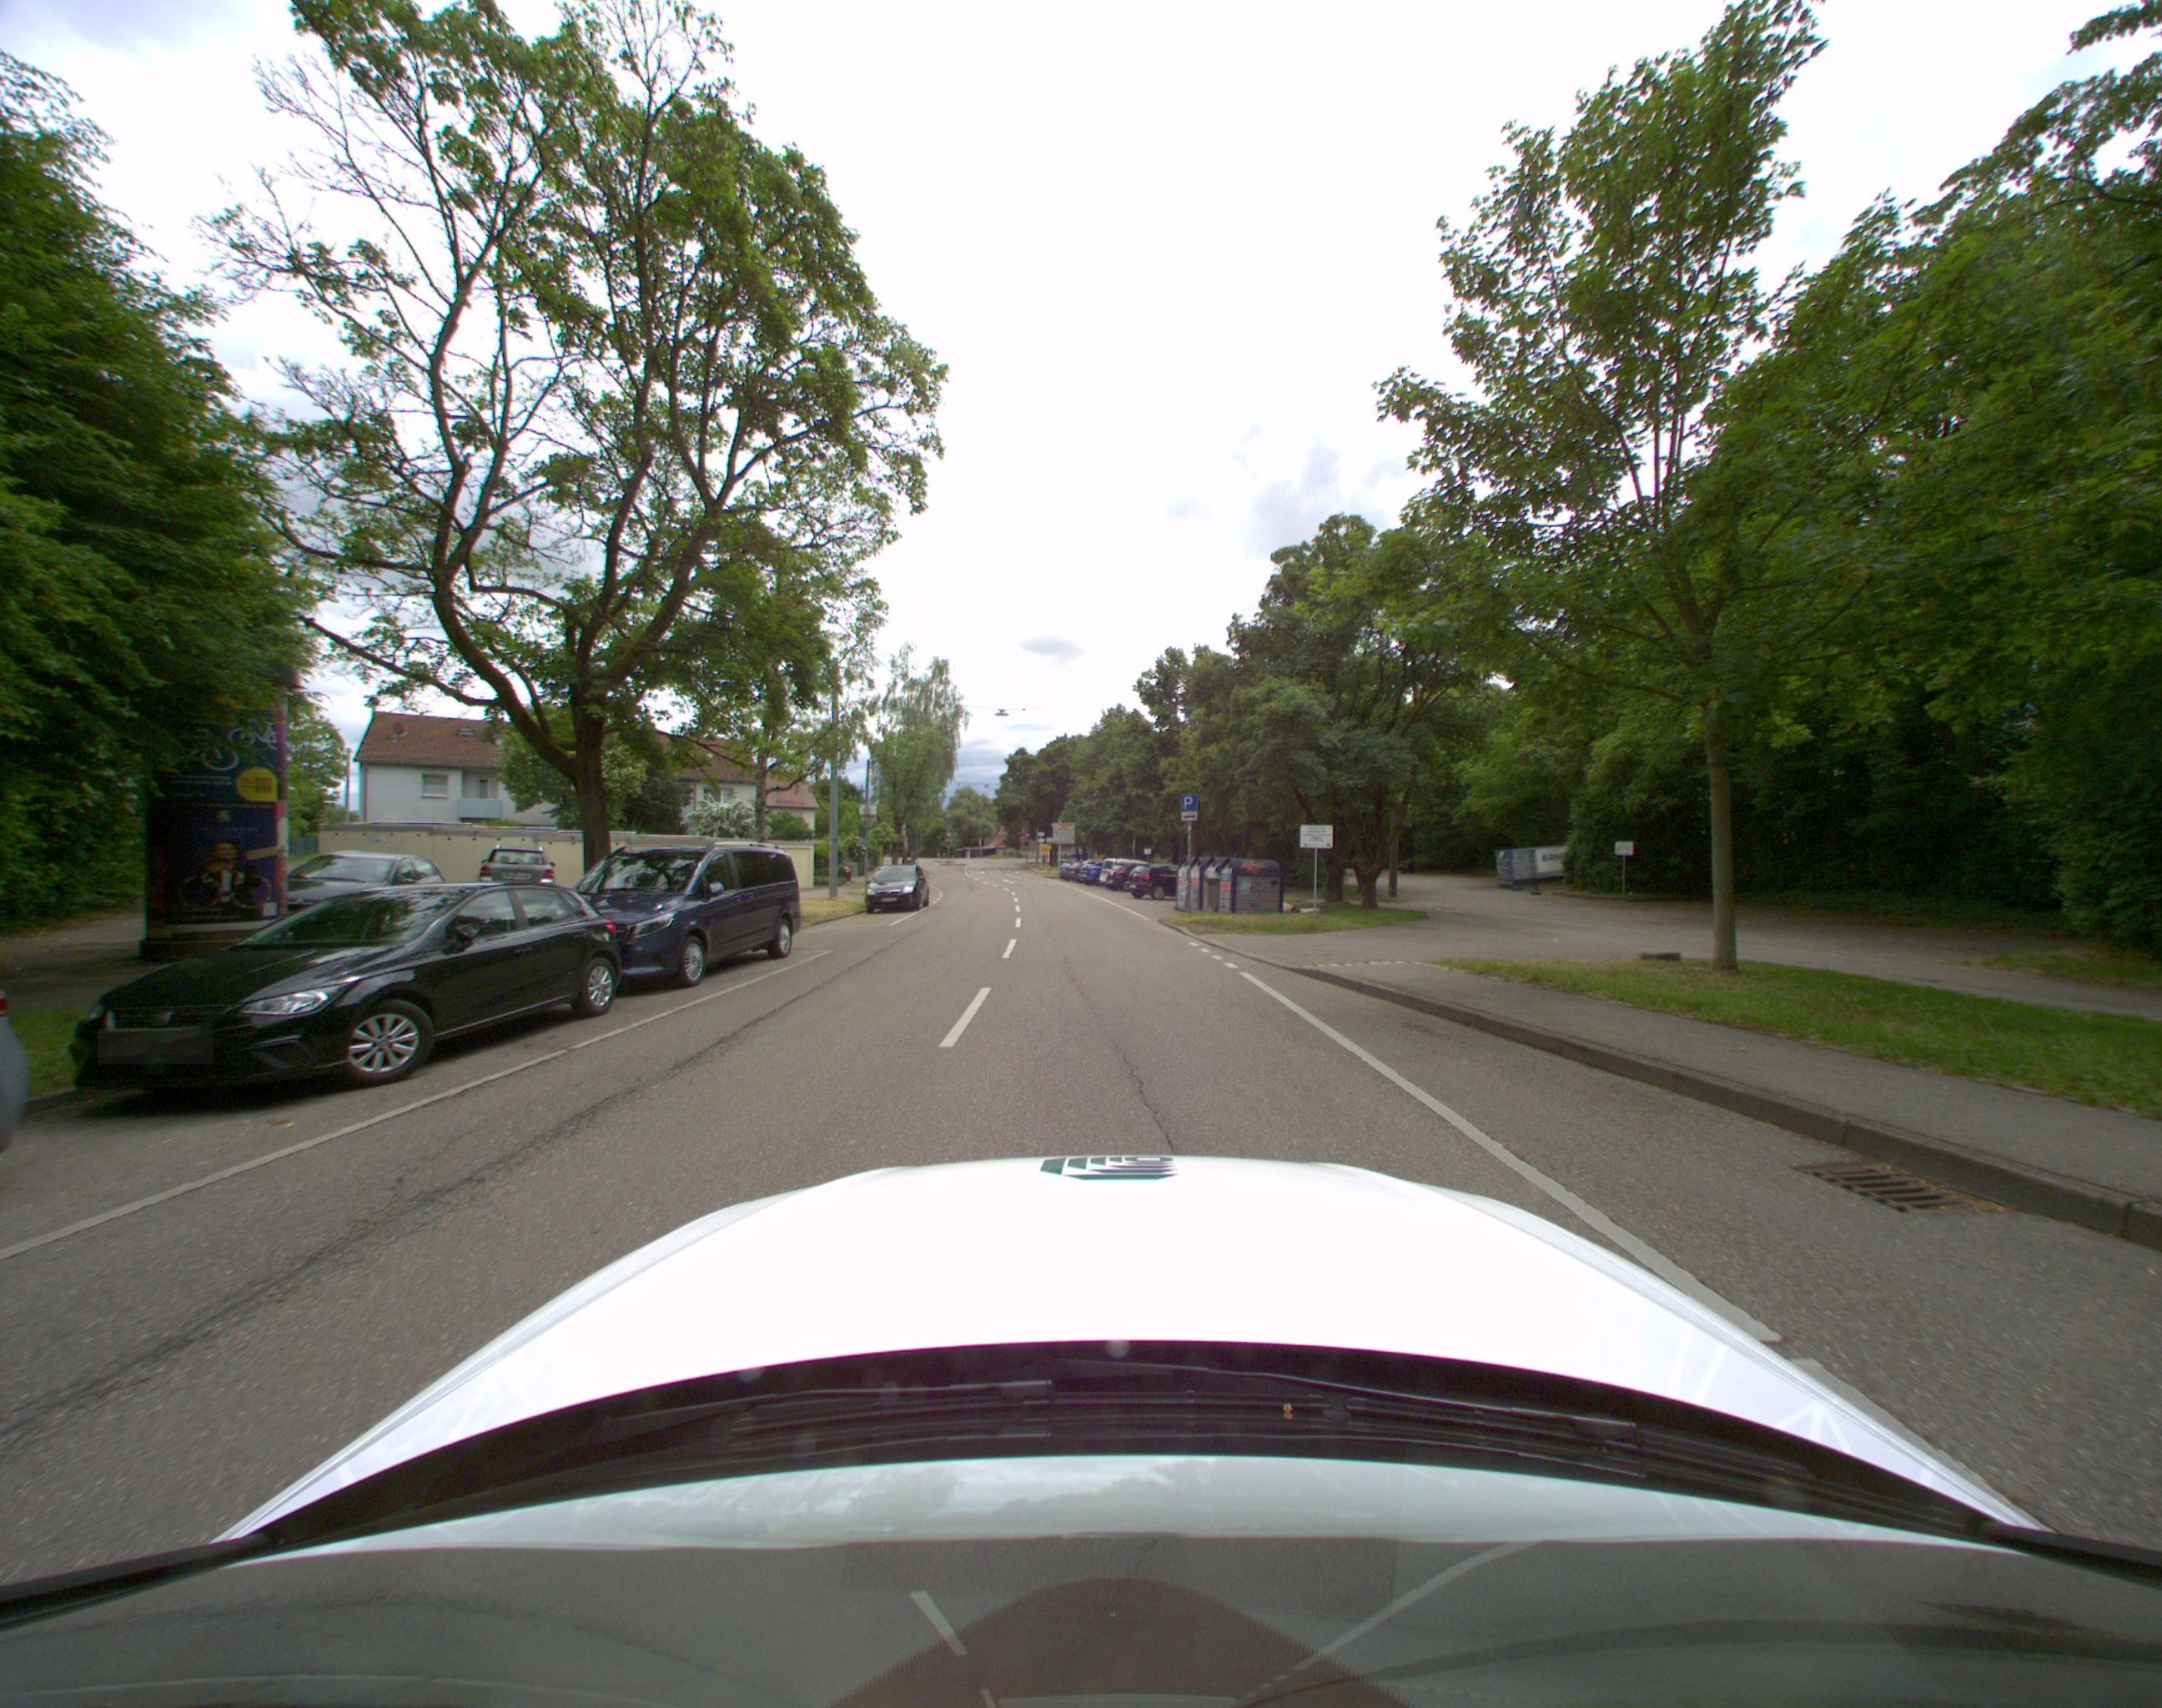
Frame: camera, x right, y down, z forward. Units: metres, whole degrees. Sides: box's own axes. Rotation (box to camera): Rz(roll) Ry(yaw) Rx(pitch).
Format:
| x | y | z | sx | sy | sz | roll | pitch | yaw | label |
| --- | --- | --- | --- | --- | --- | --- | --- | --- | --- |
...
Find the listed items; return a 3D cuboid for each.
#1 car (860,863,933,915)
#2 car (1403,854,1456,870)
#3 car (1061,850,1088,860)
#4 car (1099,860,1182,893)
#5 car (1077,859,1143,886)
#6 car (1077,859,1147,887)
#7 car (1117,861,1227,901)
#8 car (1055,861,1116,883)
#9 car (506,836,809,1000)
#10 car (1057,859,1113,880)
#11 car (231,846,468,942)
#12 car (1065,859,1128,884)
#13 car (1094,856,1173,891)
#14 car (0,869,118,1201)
| x | y | z | sx | sy | sz | roll | pitch | yaw | label |
| --- | --- | --- | --- | --- | --- | --- | --- | --- | --- |
| -6.340 | 1.155 | 28.427 | 1.802 | 1.563 | 4.259 | -3 | -1 | -5 | car |
| 30.875 | 0.732 | 72.211 | 3.975 | 1.410 | 1.799 | 0 | -1 | -1 | car |
| -1.072 | 0.165 | 134.836 | 3.867 | 1.647 | 1.982 | 0 | 0 | -28 | car |
| 3.075 | 1.179 | 41.970 | 3.838 | 1.468 | 1.732 | 3 | -1 | -26 | car |
| 1.871 | 1.191 | 52.351 | 3.838 | 1.528 | 1.731 | 3 | -2 | -26 | car |
| 1.871 | 1.174 | 49.419 | 3.838 | 1.528 | 1.731 | 3 | -2 | -26 | car |
| 3.773 | 1.117 | 33.632 | 4.007 | 1.414 | 2.041 | 3 | 0 | -26 | car |
| 0.299 | 1.267 | 57.333 | 3.892 | 1.426 | 1.814 | 3 | -2 | -26 | car |
| -5.810 | 0.774 | 12.085 | 1.852 | 1.909 | 5.081 | 0 | -1 | -1 | car |
| 0.311 | 1.218 | 62.149 | 3.838 | 1.425 | 1.731 | 3 | -2 | -26 | car |
| -13.250 | 0.680 | 15.113 | 1.779 | 1.478 | 3.964 | 4 | -2 | -19 | car |
| 1.045 | 1.170 | 54.254 | 3.838 | 1.528 | 1.731 | 3 | -2 | -26 | car |
| 2.880 | 1.080 | 44.734 | 3.838 | 1.720 | 1.862 | 3 | -2 | -26 | car |
| -5.992 | 0.826 | 2.116 | 1.859 | 1.538 | 4.228 | 0 | -1 | 1 | car |
